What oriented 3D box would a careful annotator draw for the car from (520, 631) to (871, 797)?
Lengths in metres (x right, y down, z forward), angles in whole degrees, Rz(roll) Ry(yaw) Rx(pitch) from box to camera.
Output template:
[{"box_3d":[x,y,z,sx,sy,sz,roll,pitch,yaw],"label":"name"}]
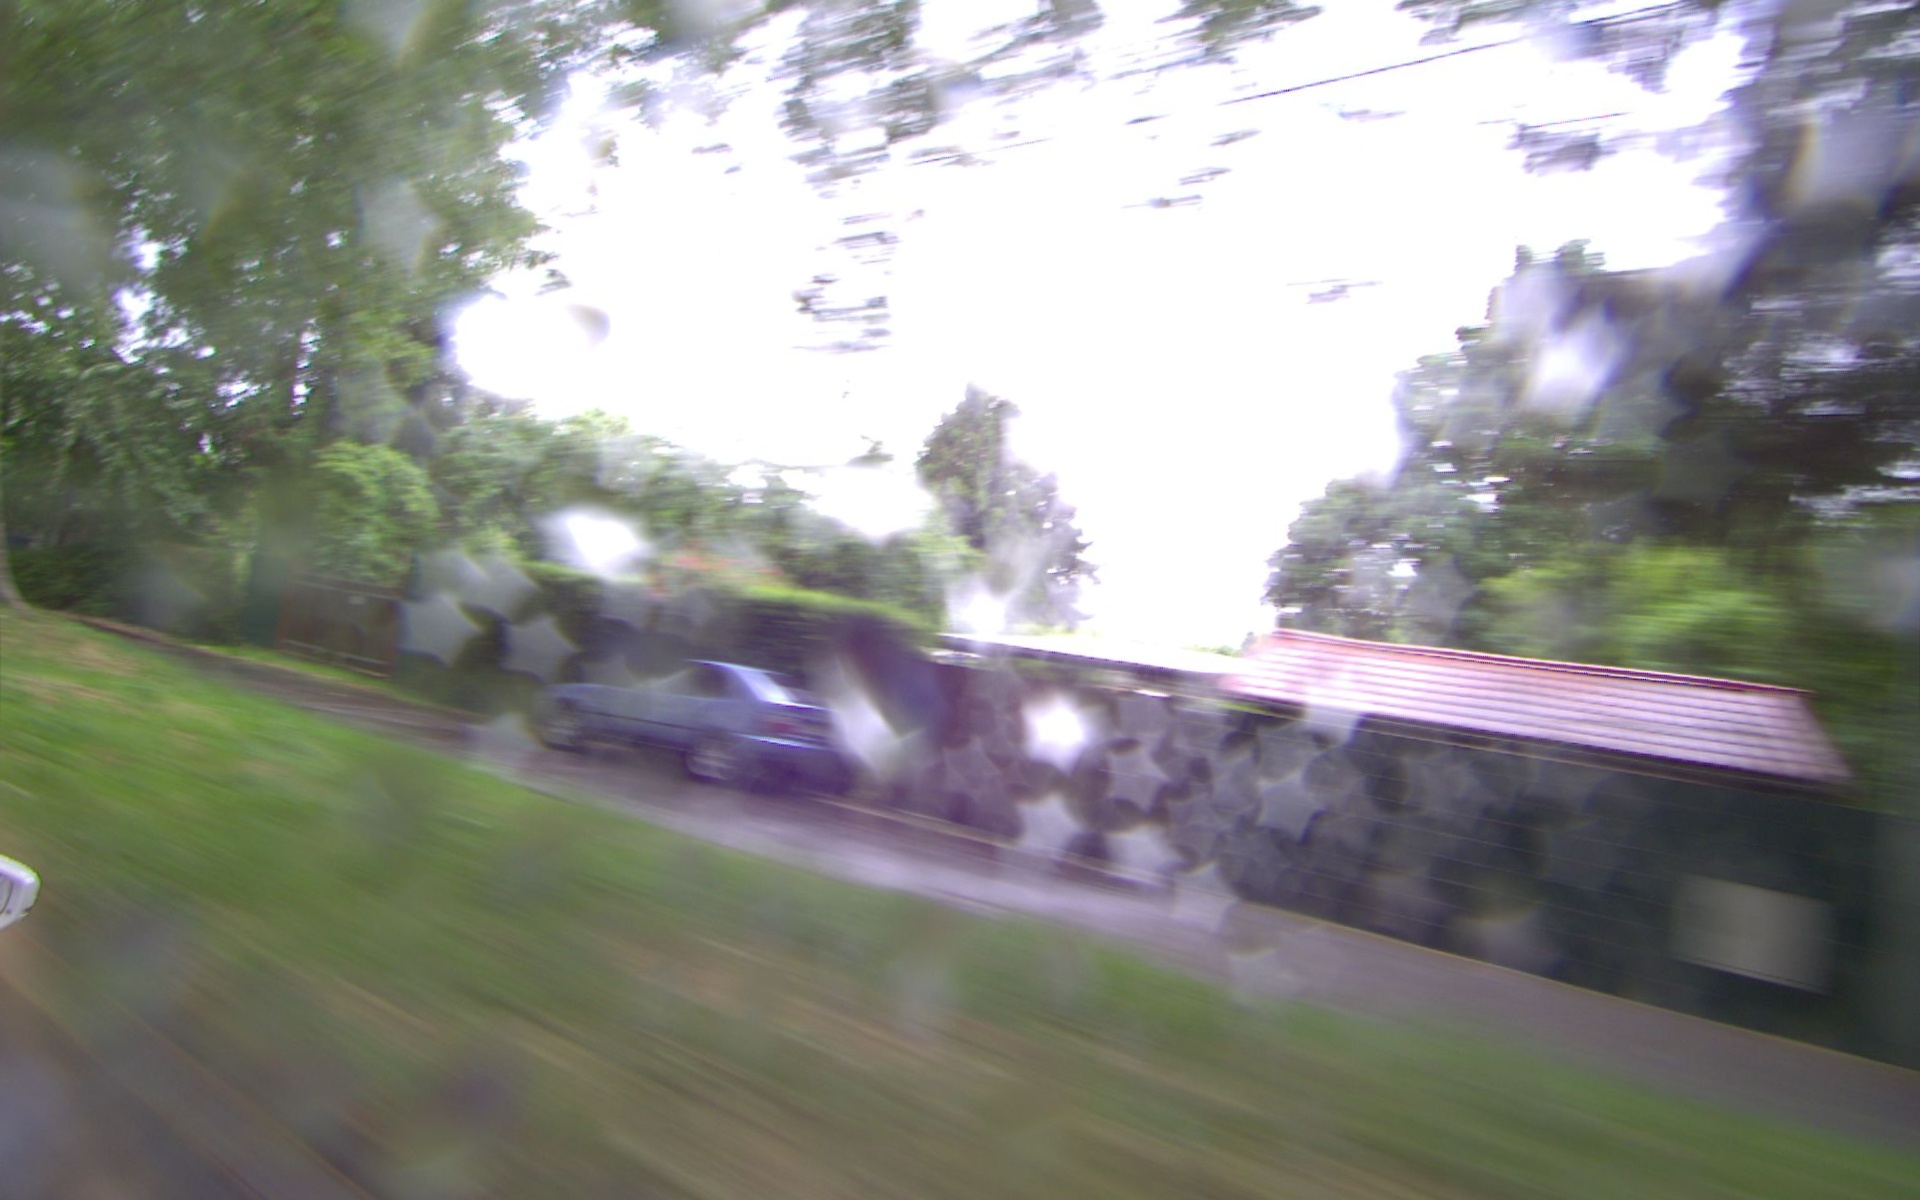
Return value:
[{"box_3d":[-3.344,1.426,12.664,3.930,1.337,1.805,7,-7,28],"label":"car"}]
